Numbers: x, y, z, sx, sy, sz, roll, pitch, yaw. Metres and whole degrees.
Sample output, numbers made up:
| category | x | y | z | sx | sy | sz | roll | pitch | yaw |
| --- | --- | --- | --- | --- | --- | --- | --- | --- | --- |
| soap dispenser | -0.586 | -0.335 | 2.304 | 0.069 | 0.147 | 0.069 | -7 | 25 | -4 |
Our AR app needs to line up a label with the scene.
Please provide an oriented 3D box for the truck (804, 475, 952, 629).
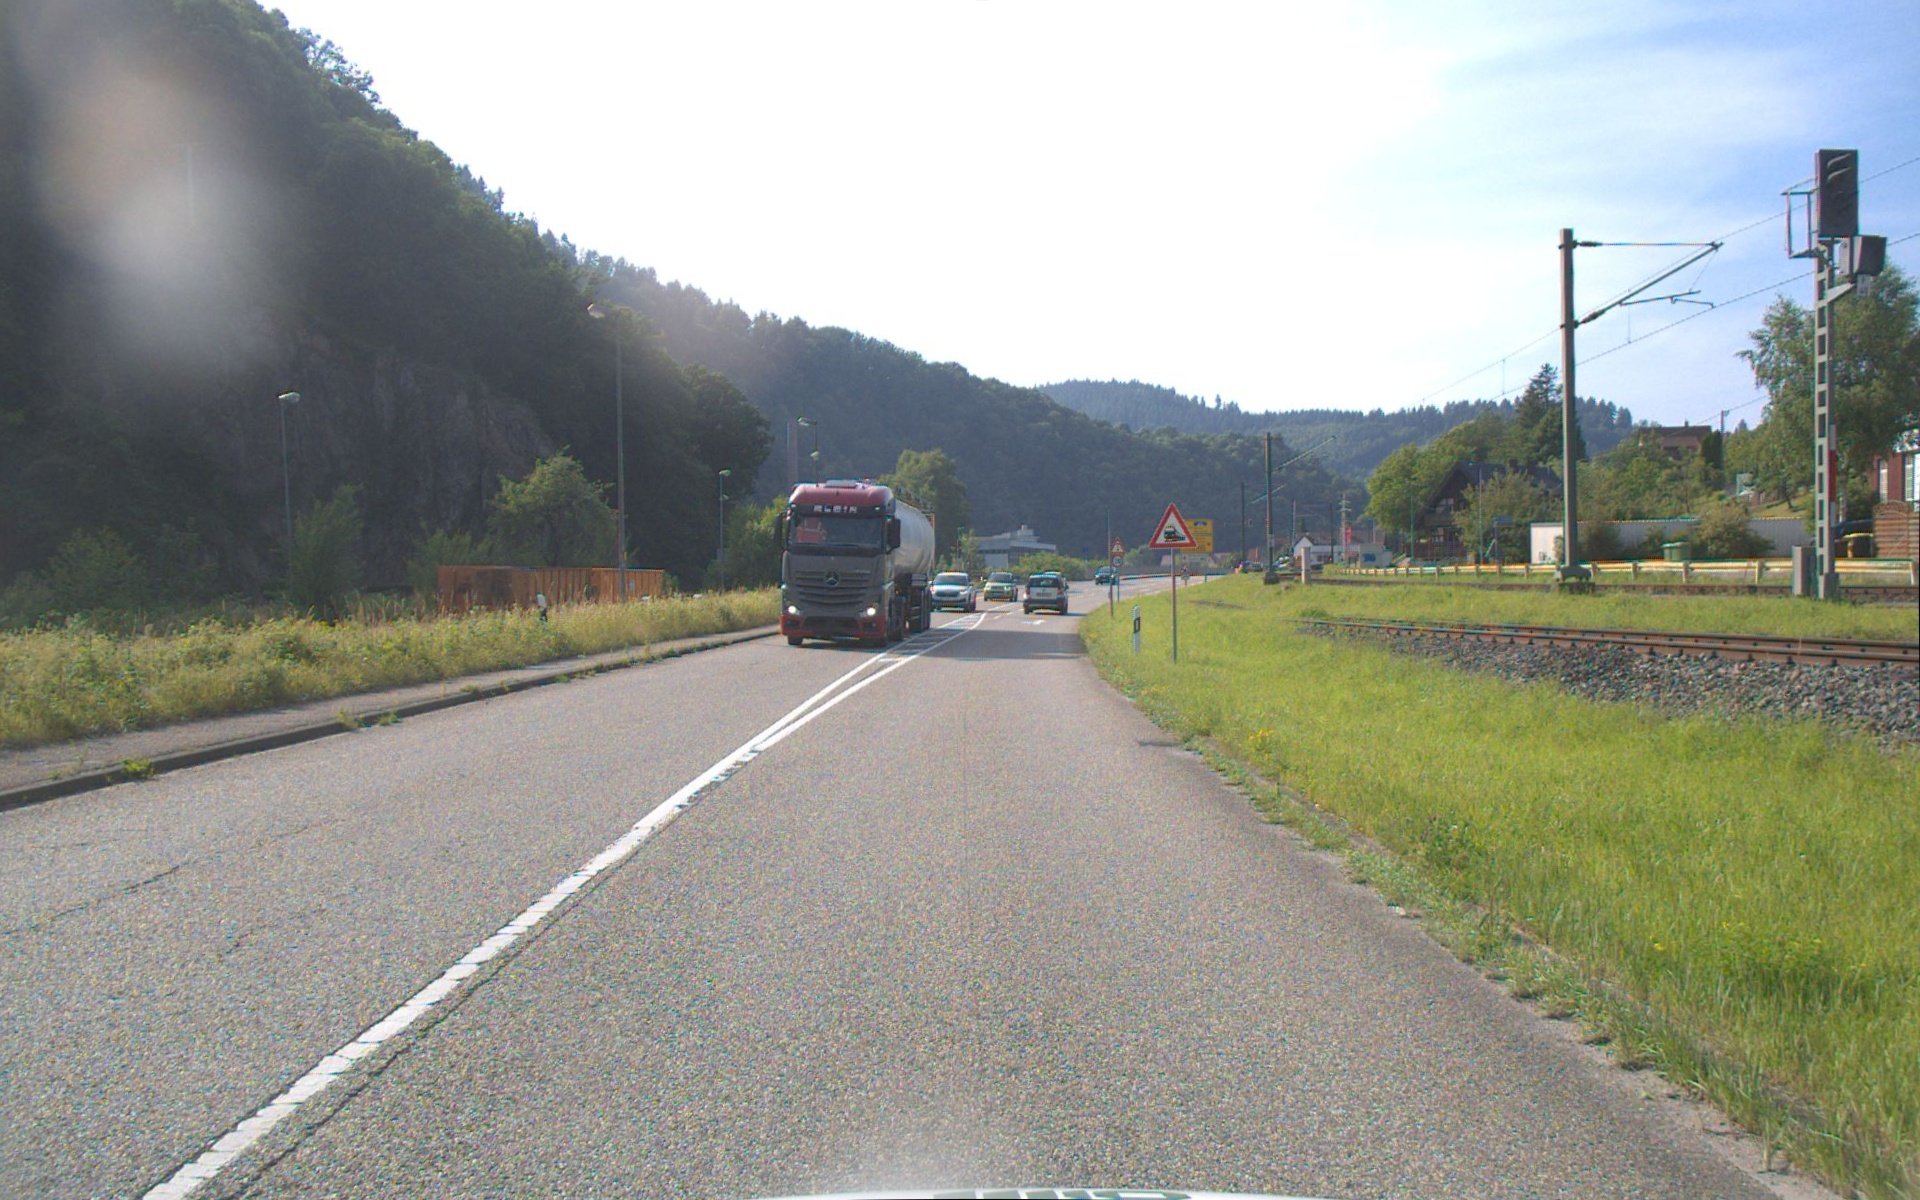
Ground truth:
| category | x | y | z | sx | sy | sz | roll | pitch | yaw |
| --- | --- | --- | --- | --- | --- | --- | --- | --- | --- |
| truck | -2.107 | -1.339 | 49.066 | 2.692 | 3.902 | 14.570 | 0 | 1 | 4 |

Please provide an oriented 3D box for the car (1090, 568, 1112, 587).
| category | x | y | z | sx | sy | sz | roll | pitch | yaw |
| --- | --- | --- | --- | --- | --- | --- | --- | --- | --- |
| car | 12.426 | -2.000 | 145.765 | 1.808 | 1.612 | 4.320 | 1 | 2 | 6 |

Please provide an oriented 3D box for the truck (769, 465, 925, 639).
| category | x | y | z | sx | sy | sz | roll | pitch | yaw |
| --- | --- | --- | --- | --- | --- | --- | --- | --- | --- |
| truck | -2.633 | -1.144 | 41.340 | 2.692 | 3.902 | 8.203 | 0 | 1 | 5 |

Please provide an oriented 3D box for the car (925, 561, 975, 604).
| category | x | y | z | sx | sy | sz | roll | pitch | yaw |
| --- | --- | --- | --- | --- | --- | --- | --- | --- | --- |
| car | -0.407 | -0.775 | 72.712 | 1.952 | 1.789 | 4.471 | 1 | 1 | 3 |

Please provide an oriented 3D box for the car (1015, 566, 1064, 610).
| category | x | y | z | sx | sy | sz | roll | pitch | yaw |
| --- | --- | --- | --- | --- | --- | --- | --- | --- | --- |
| car | 3.372 | -0.527 | 70.778 | 1.952 | 1.753 | 3.991 | -3 | 1 | 2 |

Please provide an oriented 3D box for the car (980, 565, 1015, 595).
| category | x | y | z | sx | sy | sz | roll | pitch | yaw |
| --- | --- | --- | --- | --- | --- | --- | --- | --- | --- |
| car | 2.116 | -1.130 | 93.548 | 1.687 | 1.653 | 3.799 | 1 | 1 | 6 |

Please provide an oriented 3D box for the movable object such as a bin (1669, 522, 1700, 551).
| category | x | y | z | sx | sy | sz | roll | pitch | yaw |
| --- | --- | --- | --- | --- | --- | --- | --- | --- | --- |
| movable object such as a bin | 26.771 | -2.347 | 61.119 | 0.790 | 1.068 | 0.912 | 1 | 1 | 6 |

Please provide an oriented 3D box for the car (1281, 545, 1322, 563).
| category | x | y | z | sx | sy | sz | roll | pitch | yaw |
| --- | --- | --- | --- | --- | --- | --- | --- | --- | --- |
| car | 45.771 | -6.191 | 221.392 | 5.166 | 2.048 | 2.002 | -3 | 1 | 15 |
